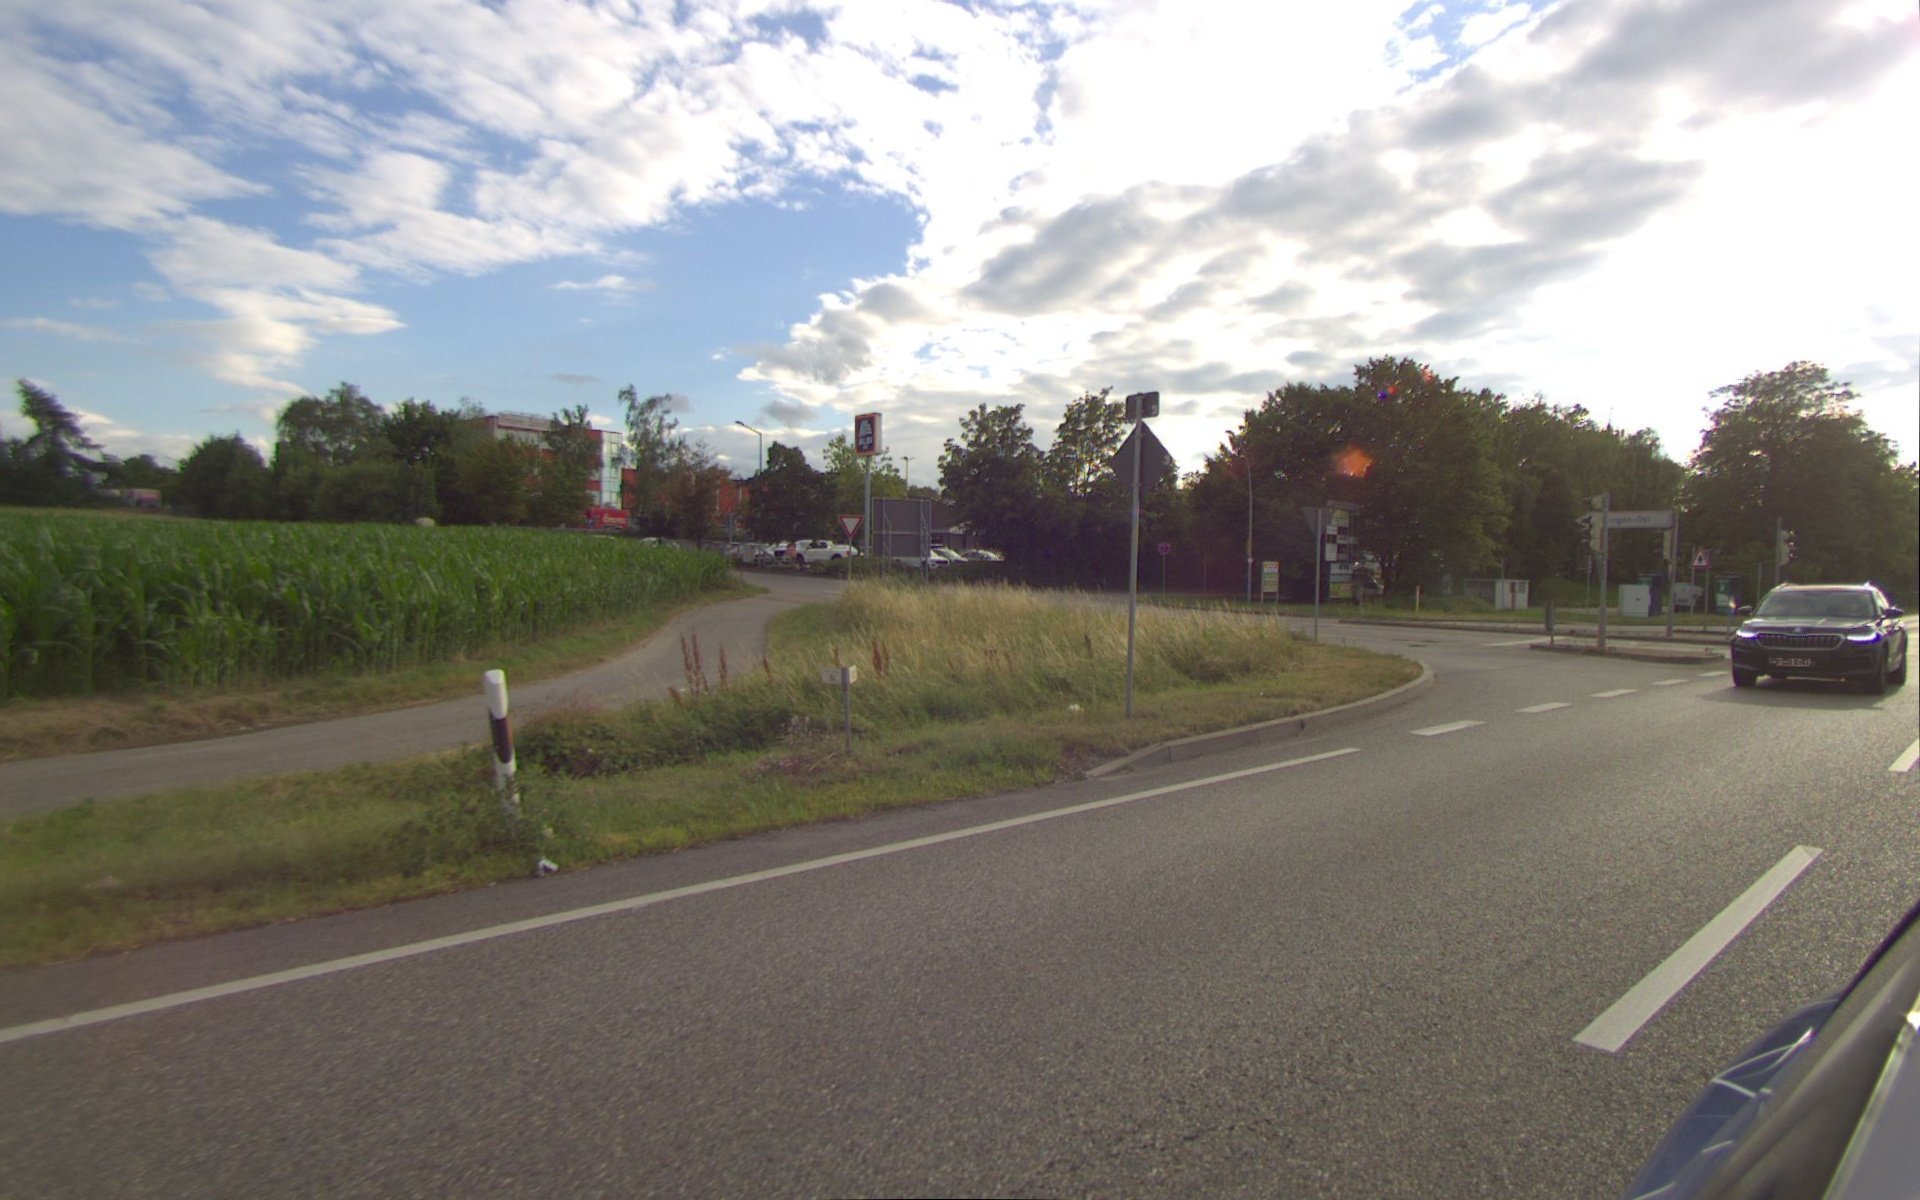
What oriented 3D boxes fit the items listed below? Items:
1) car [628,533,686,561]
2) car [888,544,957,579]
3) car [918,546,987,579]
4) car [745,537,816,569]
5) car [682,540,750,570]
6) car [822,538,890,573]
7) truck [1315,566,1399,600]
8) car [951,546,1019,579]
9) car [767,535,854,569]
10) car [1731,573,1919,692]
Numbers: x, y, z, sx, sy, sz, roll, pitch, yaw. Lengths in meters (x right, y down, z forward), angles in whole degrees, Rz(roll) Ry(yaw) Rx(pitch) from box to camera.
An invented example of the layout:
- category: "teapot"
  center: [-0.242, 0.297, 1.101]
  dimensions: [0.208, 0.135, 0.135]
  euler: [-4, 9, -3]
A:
- category: "car"
  center: [-23.289, -4.050, 77.848]
  dimensions: [1.989, 2.039, 3.947]
  euler: [0, 1, 37]
- category: "car"
  center: [-2.374, -2.411, 63.332]
  dimensions: [1.928, 1.906, 4.298]
  euler: [0, 5, -43]
- category: "car"
  center: [-0.521, -2.420, 64.933]
  dimensions: [1.928, 1.874, 4.298]
  euler: [0, 5, -43]
- category: "car"
  center: [-11.729, -3.080, 66.245]
  dimensions: [1.954, 1.906, 4.241]
  euler: [6, 4, 42]
- category: "car"
  center: [-17.027, -3.112, 70.773]
  dimensions: [1.954, 1.906, 4.241]
  euler: [6, 4, 42]
- category: "car"
  center: [-6.495, -2.750, 62.740]
  dimensions: [1.928, 1.906, 4.298]
  euler: [0, 5, -43]
- category: "truck"
  center: [24.730, -1.056, 63.204]
  dimensions: [4.600, 2.022, 1.816]
  euler: [1, 1, 14]
- category: "car"
  center: [1.617, -2.475, 66.957]
  dimensions: [1.928, 1.906, 4.298]
  euler: [0, 5, -43]
- category: "car"
  center: [-9.500, -3.063, 64.715]
  dimensions: [1.993, 2.038, 5.531]
  euler: [4, 4, 41]
- category: "car"
  center: [14.145, 0.447, 16.413]
  dimensions: [4.404, 1.671, 1.847]
  euler: [0, 0, -42]
